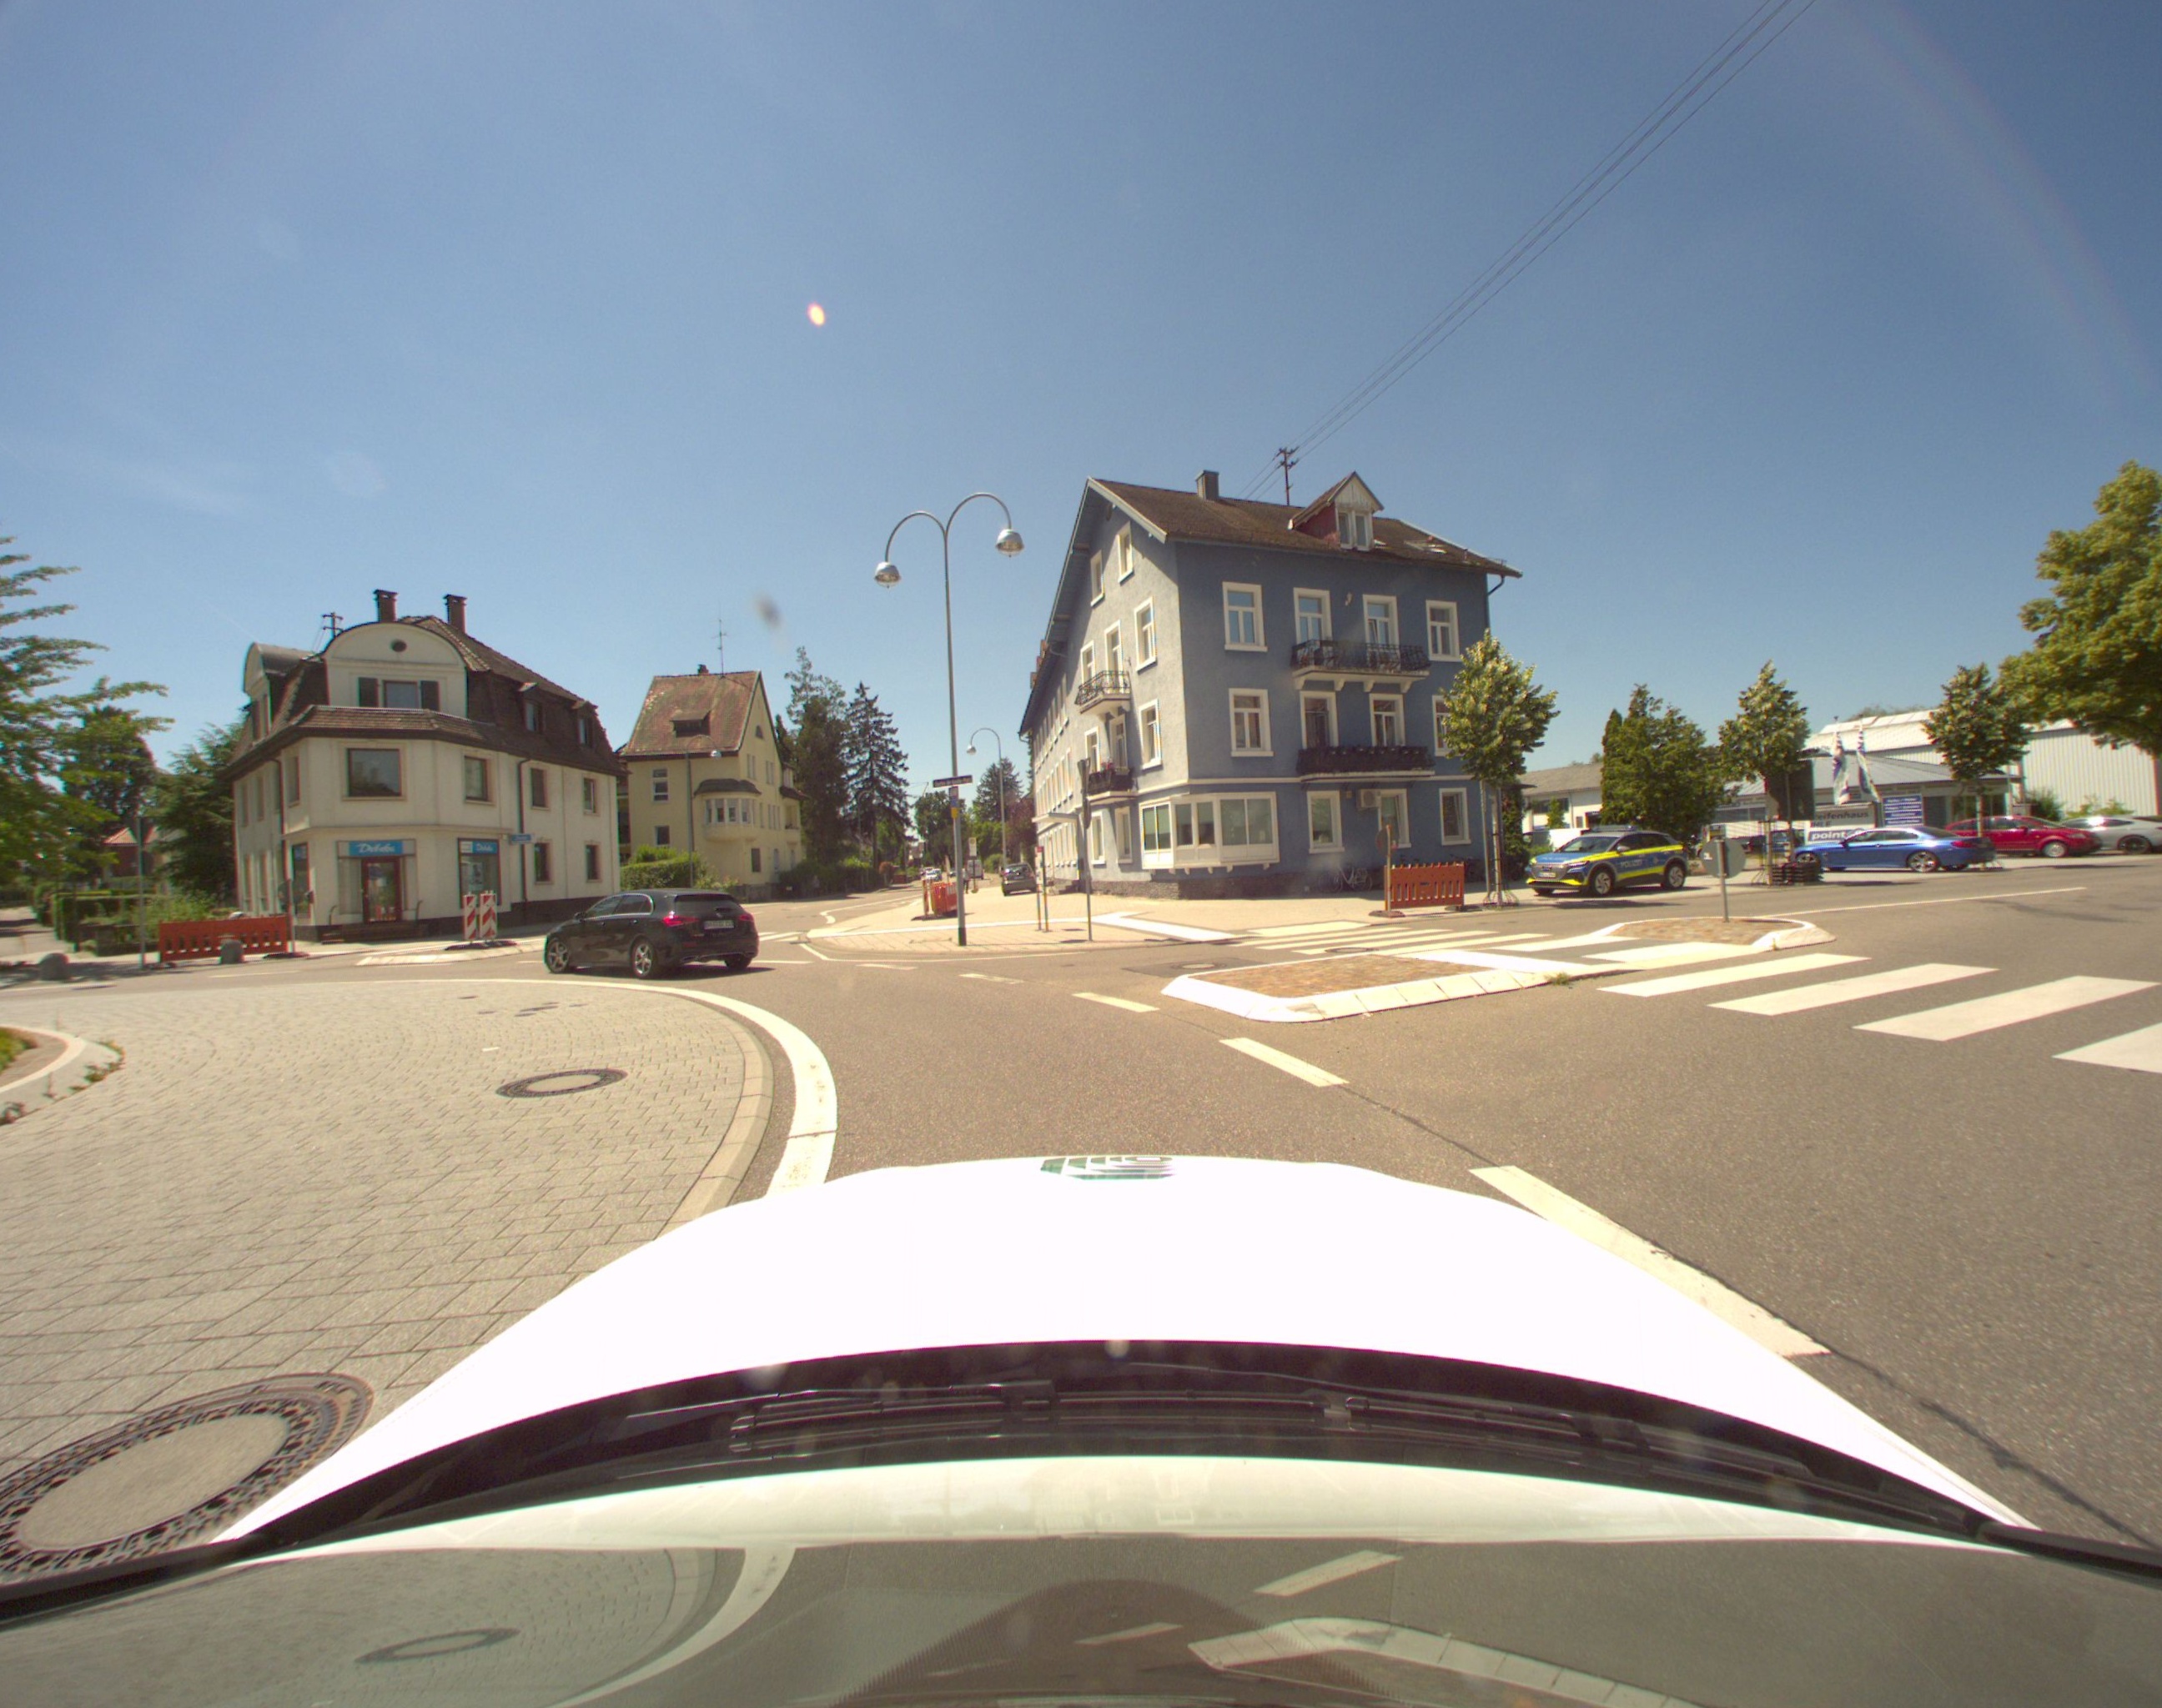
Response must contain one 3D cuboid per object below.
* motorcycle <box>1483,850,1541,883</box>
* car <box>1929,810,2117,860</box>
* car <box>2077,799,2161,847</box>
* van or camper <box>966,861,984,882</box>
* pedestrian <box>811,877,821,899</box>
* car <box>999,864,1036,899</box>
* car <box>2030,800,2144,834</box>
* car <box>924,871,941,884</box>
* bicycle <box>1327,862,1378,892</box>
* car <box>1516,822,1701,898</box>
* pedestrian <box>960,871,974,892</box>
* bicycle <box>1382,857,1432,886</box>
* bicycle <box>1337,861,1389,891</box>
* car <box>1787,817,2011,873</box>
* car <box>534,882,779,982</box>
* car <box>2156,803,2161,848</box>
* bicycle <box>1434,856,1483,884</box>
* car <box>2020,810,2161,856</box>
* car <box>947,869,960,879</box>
[{"bbox_3d":[14.912,0.425,28.177,1.905,1.051,0.584,-2,1,-18],"label":"motorcycle"},{"bbox_3d":[33.894,-0.653,29.448,2.001,1.530,3.972,-2,-1,-21],"label":"car"},{"bbox_3d":[41.962,-1.250,31.413,1.998,1.783,3.977,-3,0,-17],"label":"car"},{"bbox_3d":[-13.700,2.305,105.397,2.204,2.611,3.989,-3,-1,-8],"label":"van or camper"},{"bbox_3d":[-19.438,2.491,59.699,0.521,1.509,0.473,-3,-1,0],"label":"pedestrian"},{"bbox_3d":[-3.215,1.343,40.767,1.638,1.507,3.556,-6,0,-6],"label":"car"},{"bbox_3d":[62.246,-2.257,50.482,2.000,1.860,3.974,-1,0,-19],"label":"car"},{"bbox_3d":[-20.485,3.268,112.709,1.992,1.651,3.989,-3,-1,-7],"label":"car"},{"bbox_3d":[9.053,0.745,27.134,1.713,0.907,0.437,-2,1,-20],"label":"bicycle"},{"bbox_3d":[13.910,0.135,21.508,4.250,1.743,1.893,-2,0,-20],"label":"car"},{"bbox_3d":[-7.146,1.717,50.954,0.664,1.286,0.587,-6,0,1],"label":"pedestrian"},{"bbox_3d":[11.125,0.574,27.783,1.713,0.907,0.478,-2,1,-20],"label":"bicycle"},{"bbox_3d":[9.258,0.717,26.701,1.713,0.907,0.437,-2,1,-20],"label":"bicycle"},{"bbox_3d":[24.858,-0.187,24.964,1.908,1.480,4.434,1,-2,-23],"label":"car"},{"bbox_3d":[-7.301,1.273,13.943,3.948,1.427,1.972,-3,-2,32],"label":"car"},{"bbox_3d":[50.014,-1.373,35.085,2.000,2.014,3.973,-1,-2,-19],"label":"car"},{"bbox_3d":[13.295,0.561,28.671,1.713,0.907,0.478,-2,1,-20],"label":"bicycle"},{"bbox_3d":[36.758,-0.737,28.939,2.001,1.447,3.972,-2,-1,-21],"label":"car"},{"bbox_3d":[-22.100,3.469,141.020,1.991,1.717,3.990,-3,-1,-6],"label":"car"}]
